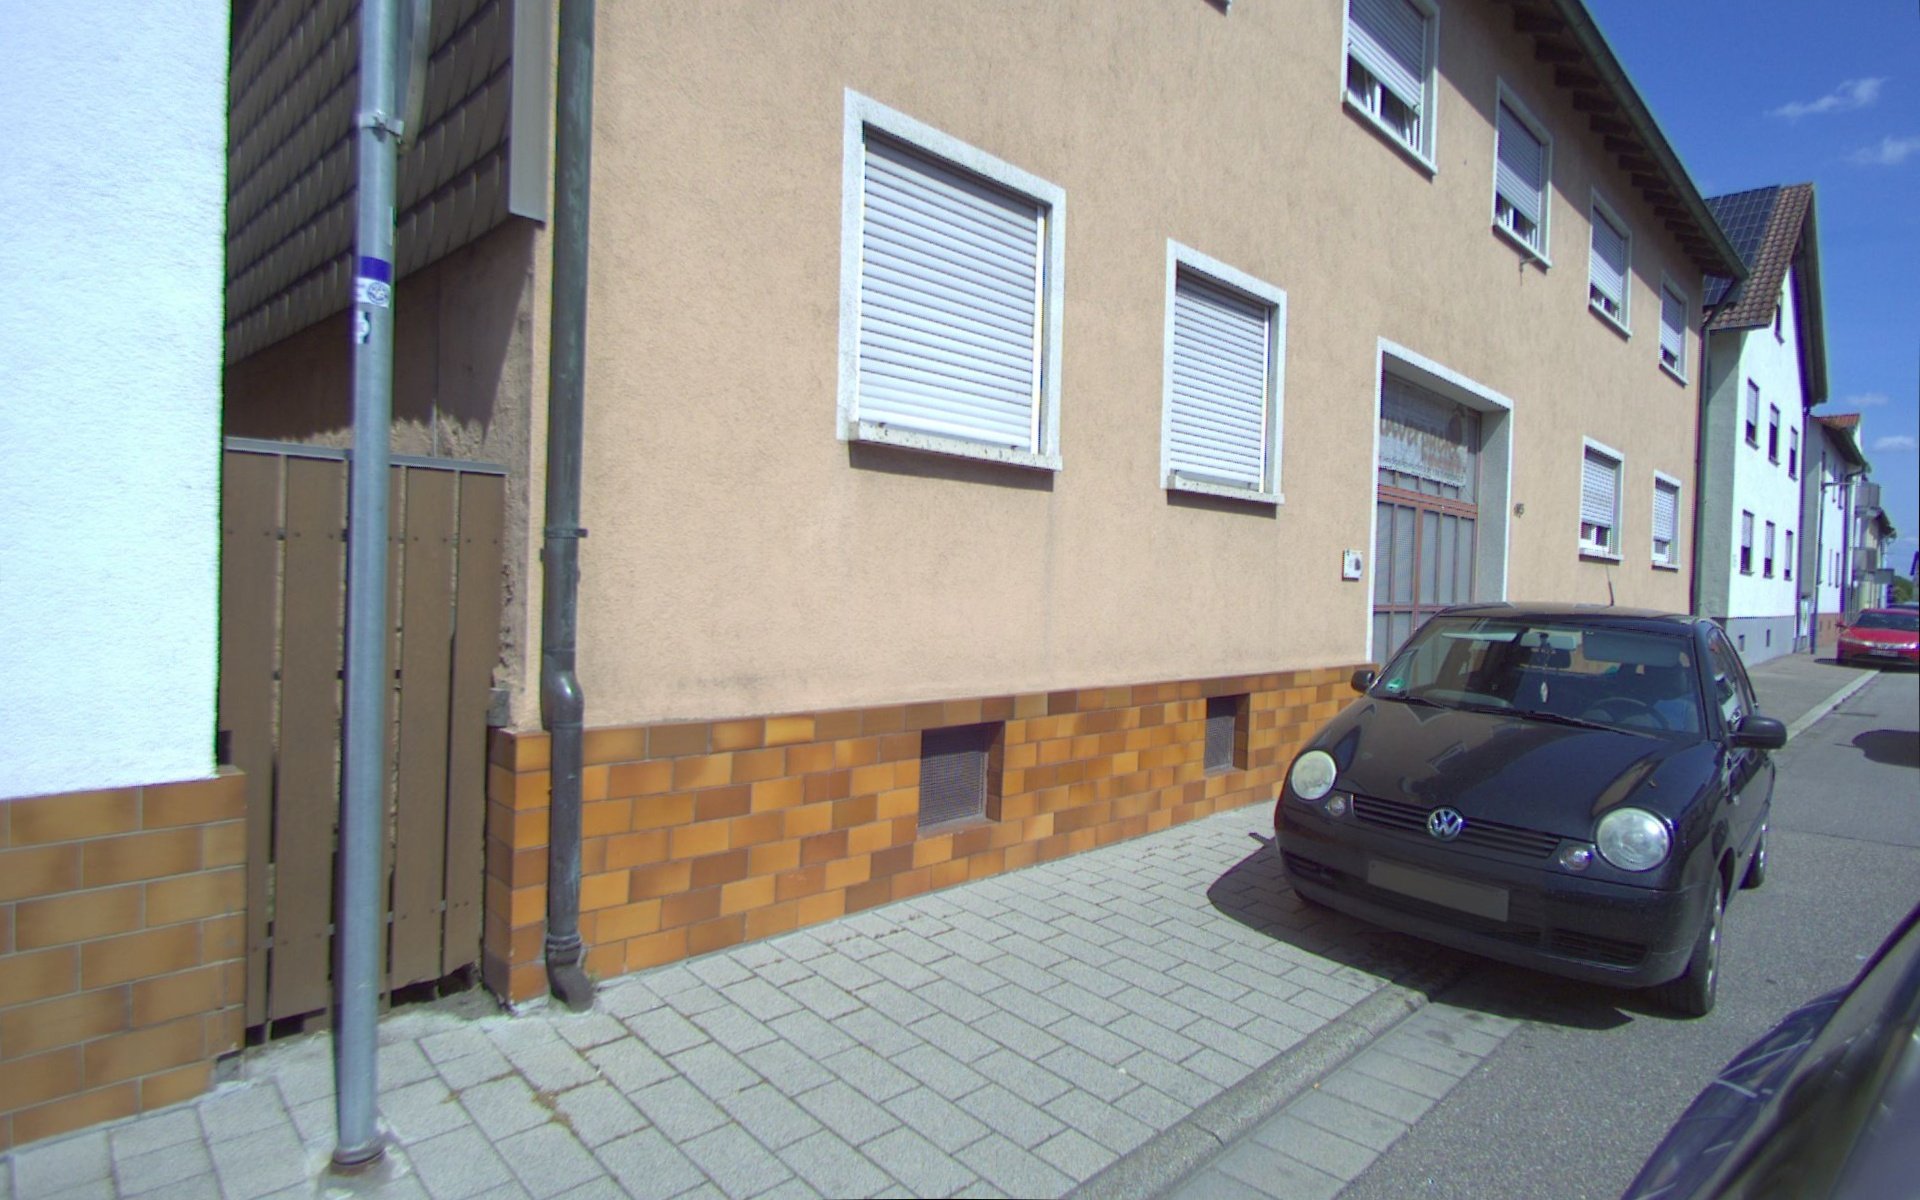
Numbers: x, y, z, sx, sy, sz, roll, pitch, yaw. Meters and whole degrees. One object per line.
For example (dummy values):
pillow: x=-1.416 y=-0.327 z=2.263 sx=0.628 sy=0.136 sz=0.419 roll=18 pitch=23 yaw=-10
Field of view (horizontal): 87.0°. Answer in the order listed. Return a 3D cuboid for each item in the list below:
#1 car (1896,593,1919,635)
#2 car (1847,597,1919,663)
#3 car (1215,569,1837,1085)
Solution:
car: x=35.279 y=0.533 z=36.743 sx=1.761 sy=1.446 sz=4.121 roll=3 pitch=2 yaw=45
car: x=23.223 y=0.715 z=24.947 sx=1.761 sy=1.446 sz=4.121 roll=3 pitch=2 yaw=45
car: x=2.955 y=0.686 z=4.926 sx=1.687 sy=1.481 sz=3.570 roll=6 pitch=3 yaw=44
